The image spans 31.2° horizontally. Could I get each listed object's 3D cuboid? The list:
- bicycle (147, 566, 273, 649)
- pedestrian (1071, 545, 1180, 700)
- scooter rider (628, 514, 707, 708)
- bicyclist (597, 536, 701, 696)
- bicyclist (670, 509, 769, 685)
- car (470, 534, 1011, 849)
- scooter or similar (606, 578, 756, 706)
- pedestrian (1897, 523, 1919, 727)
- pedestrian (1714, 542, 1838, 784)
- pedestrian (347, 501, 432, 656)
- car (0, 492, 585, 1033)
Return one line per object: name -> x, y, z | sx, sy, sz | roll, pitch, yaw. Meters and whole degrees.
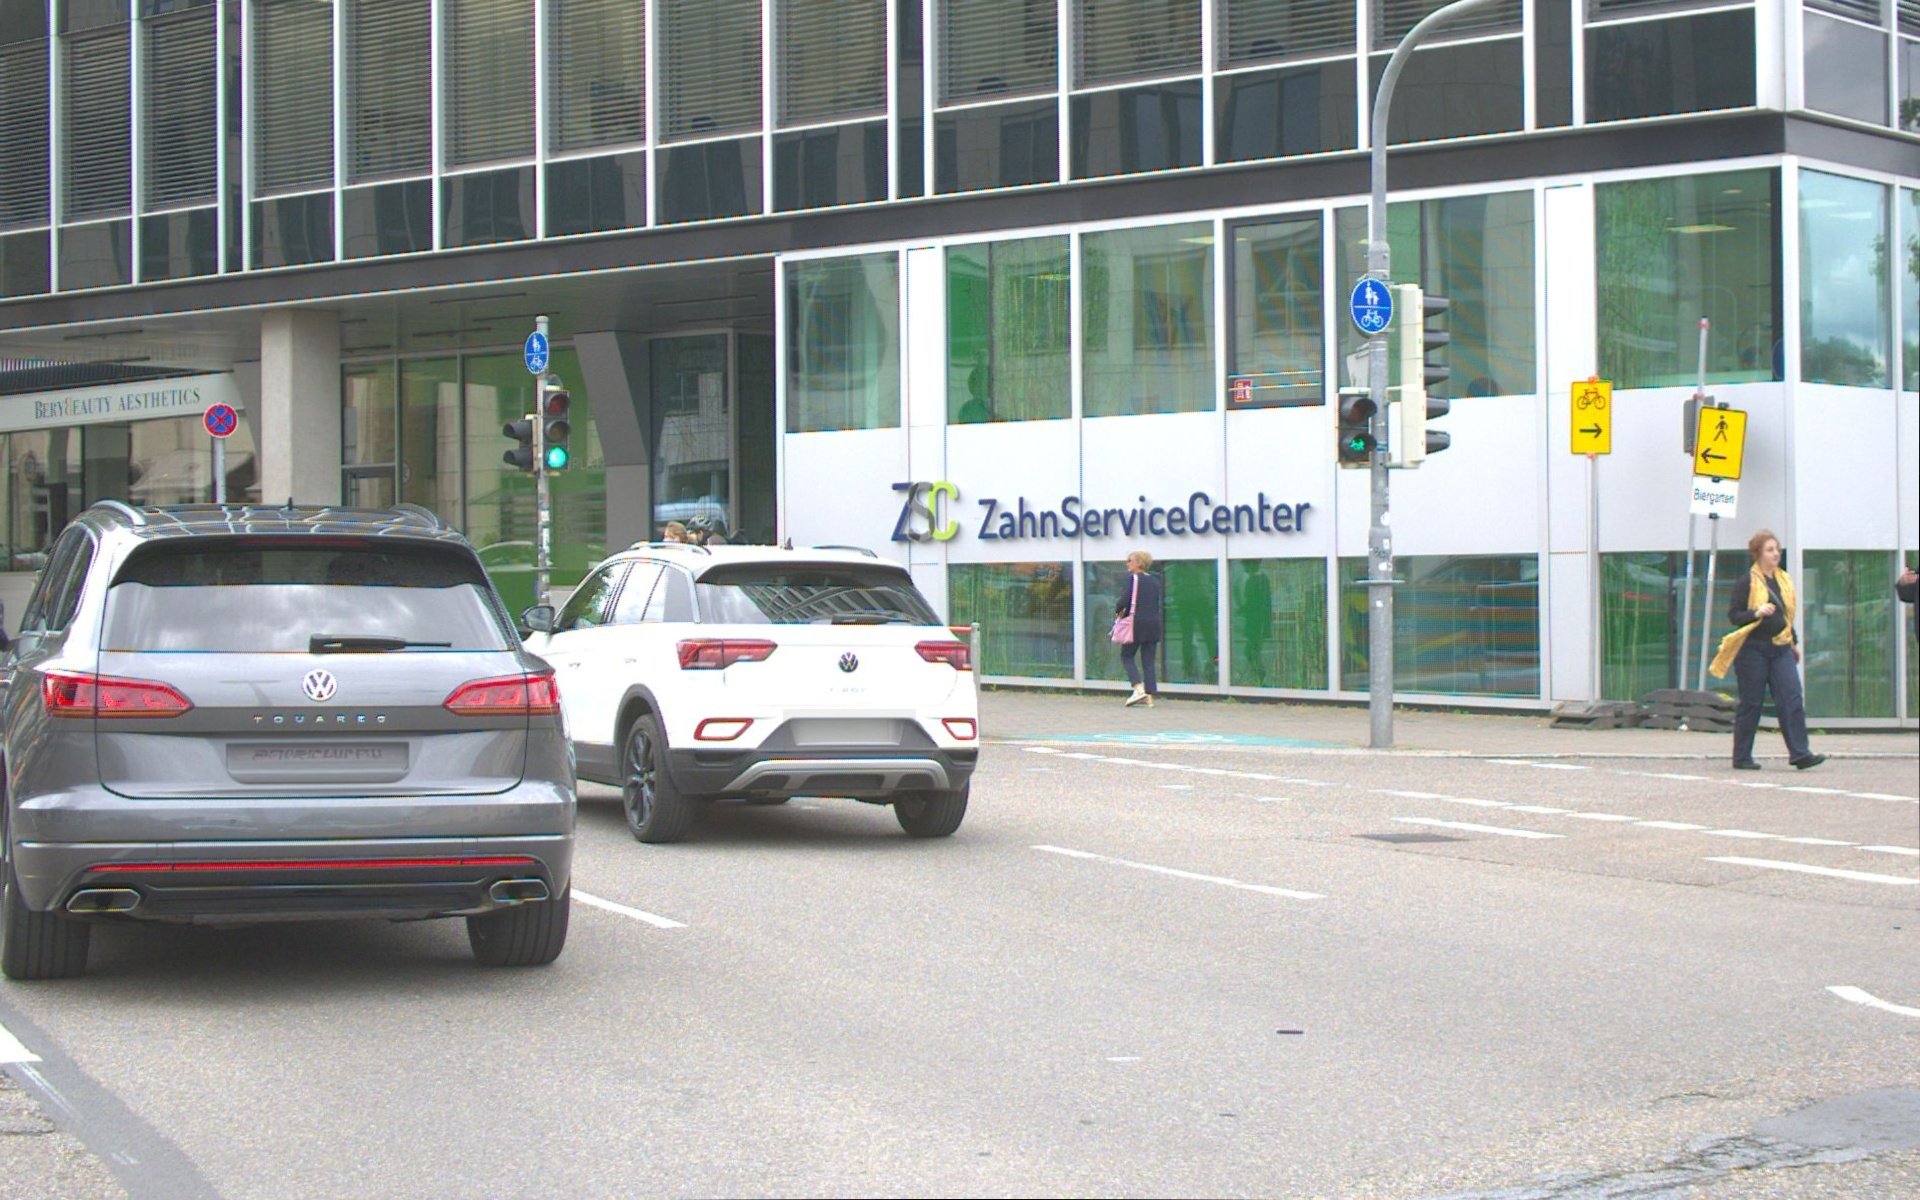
bicycle -> -9.870, 0.092, 45.240 | 1.483, 1.044, 0.713 | 1, 1, 25
pedestrian -> 1.579, 0.202, 32.770 | 0.838, 1.438, 0.604 | 1, 2, 42
scooter rider -> -2.740, 0.097, 32.248 | 0.641, 1.802, 0.593 | 0, 1, 4
bicyclist -> -3.030, 0.148, 33.556 | 0.844, 1.544, 0.565 | 0, 1, 17
bicyclist -> -2.552, -0.040, 36.462 | 0.813, 1.839, 0.673 | 1, 1, 42
car -> -1.335, 0.463, 19.114 | 1.797, 1.540, 3.936 | -1, 0, -23
scooter or similar -> -2.611, 0.386, 32.245 | 1.319, 1.172, 0.593 | 0, 1, 4
pedestrian -> 8.458, 0.217, 29.552 | 0.636, 1.742, 0.590 | 1, 1, 29
pedestrian -> 5.810, 0.432, 24.495 | 0.546, 1.692, 0.802 | 0, 1, -13
pedestrian -> -6.360, -0.237, 38.326 | 0.752, 1.706, 0.525 | -1, 1, 41
car -> -2.732, 0.439, 13.036 | 1.969, 1.689, 4.226 | -1, 2, -15
